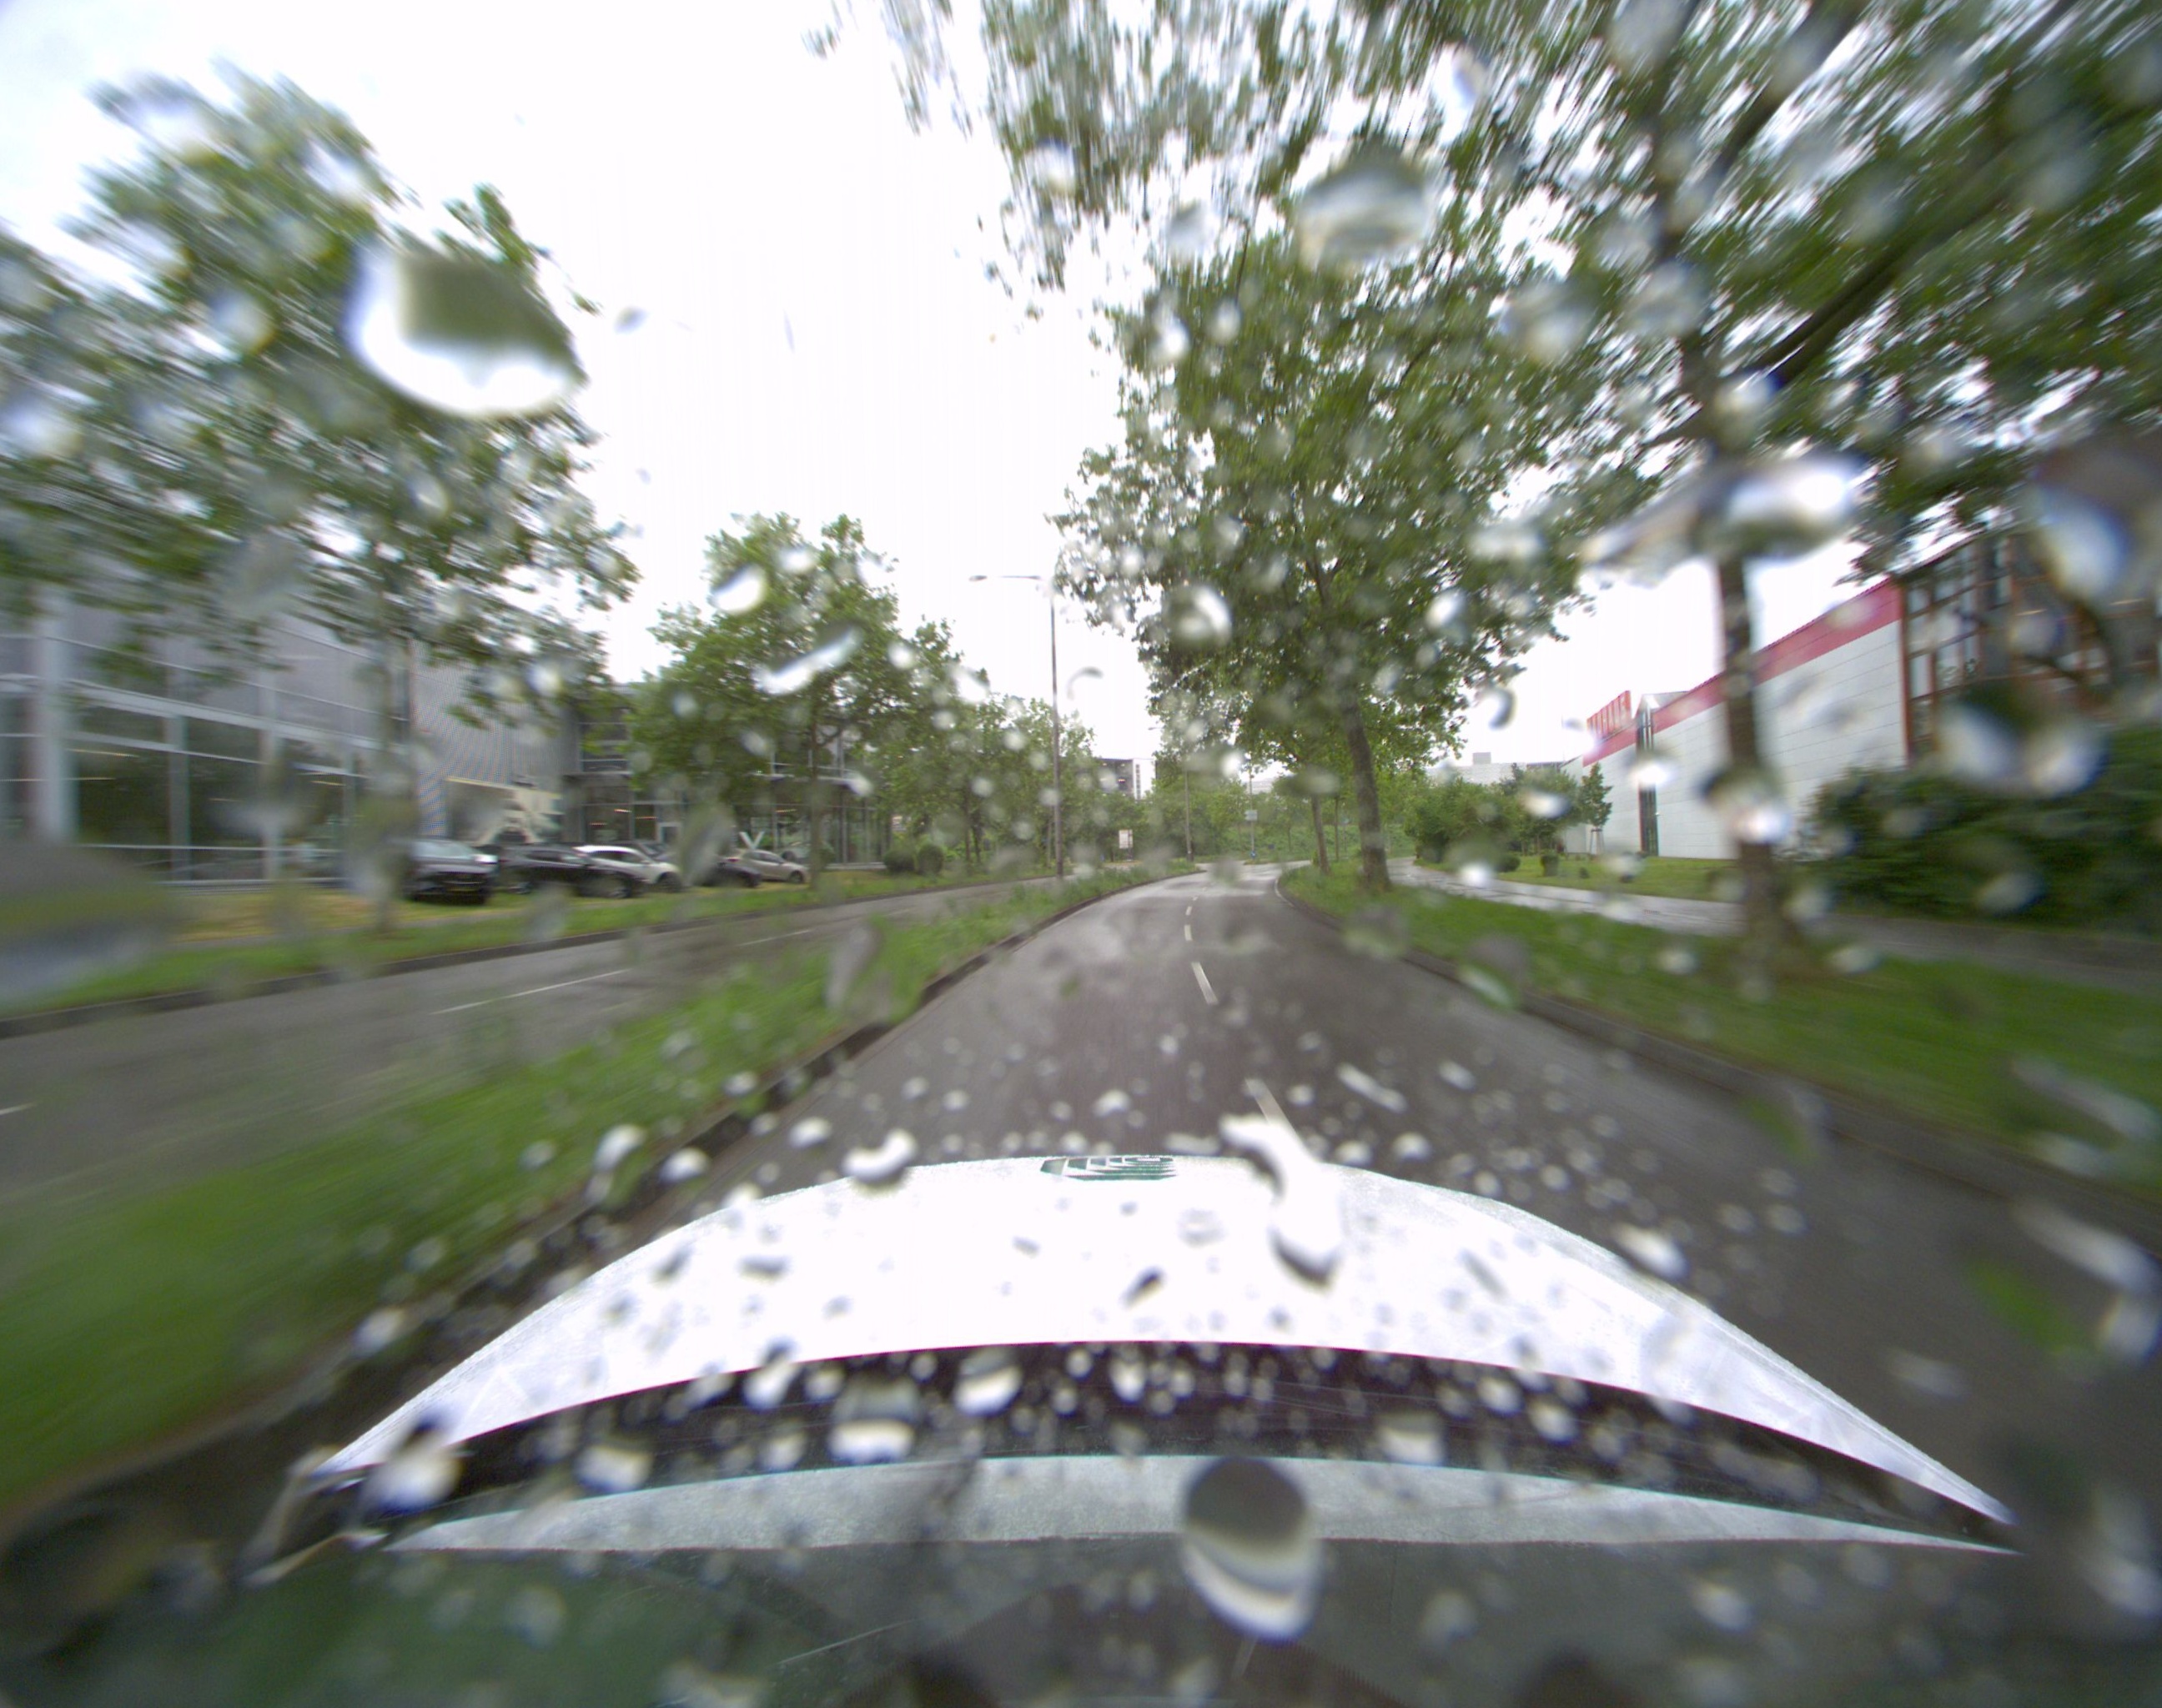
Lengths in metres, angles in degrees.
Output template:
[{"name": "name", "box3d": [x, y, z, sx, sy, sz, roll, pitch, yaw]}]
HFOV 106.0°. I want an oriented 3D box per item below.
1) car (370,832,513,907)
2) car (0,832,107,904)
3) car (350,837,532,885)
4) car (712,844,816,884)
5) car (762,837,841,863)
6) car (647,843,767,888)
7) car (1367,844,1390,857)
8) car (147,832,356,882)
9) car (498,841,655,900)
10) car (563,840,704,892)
[{"name": "car", "box3d": [-18.008, 0.397, 22.873, 4.381, 1.556, 1.859, 7, 1, 35]}, {"name": "car", "box3d": [-22.929, 0.242, 16.298, 4.005, 1.357, 1.837, 1, 1, -17]}, {"name": "car", "box3d": [-21.118, 0.217, 27.023, 4.409, 1.473, 1.919, -1, 0, -2]}, {"name": "car", "box3d": [-14.682, 0.464, 37.822, 4.021, 1.475, 1.764, 5, 2, -43]}, {"name": "car", "box3d": [-16.724, -0.232, 48.884, 1.761, 1.476, 4.139, -1, 0, 38]}, {"name": "car", "box3d": [-15.386, 0.504, 33.559, 4.146, 1.422, 1.829, 5, 1, -35]}, {"name": "car", "box3d": [38.400, -0.452, 105.195, 1.762, 1.555, 4.026, 0, 2, 36]}, {"name": "car", "box3d": [-26.630, 0.095, 26.292, 4.419, 1.473, 1.915, -1, 0, -8]}, {"name": "car", "box3d": [-16.397, 0.558, 26.675, 4.142, 1.478, 1.830, 5, 1, -31]}, {"name": "car", "box3d": [-16.238, 0.454, 29.623, 4.148, 1.478, 1.827, 5, 2, -38]}]
